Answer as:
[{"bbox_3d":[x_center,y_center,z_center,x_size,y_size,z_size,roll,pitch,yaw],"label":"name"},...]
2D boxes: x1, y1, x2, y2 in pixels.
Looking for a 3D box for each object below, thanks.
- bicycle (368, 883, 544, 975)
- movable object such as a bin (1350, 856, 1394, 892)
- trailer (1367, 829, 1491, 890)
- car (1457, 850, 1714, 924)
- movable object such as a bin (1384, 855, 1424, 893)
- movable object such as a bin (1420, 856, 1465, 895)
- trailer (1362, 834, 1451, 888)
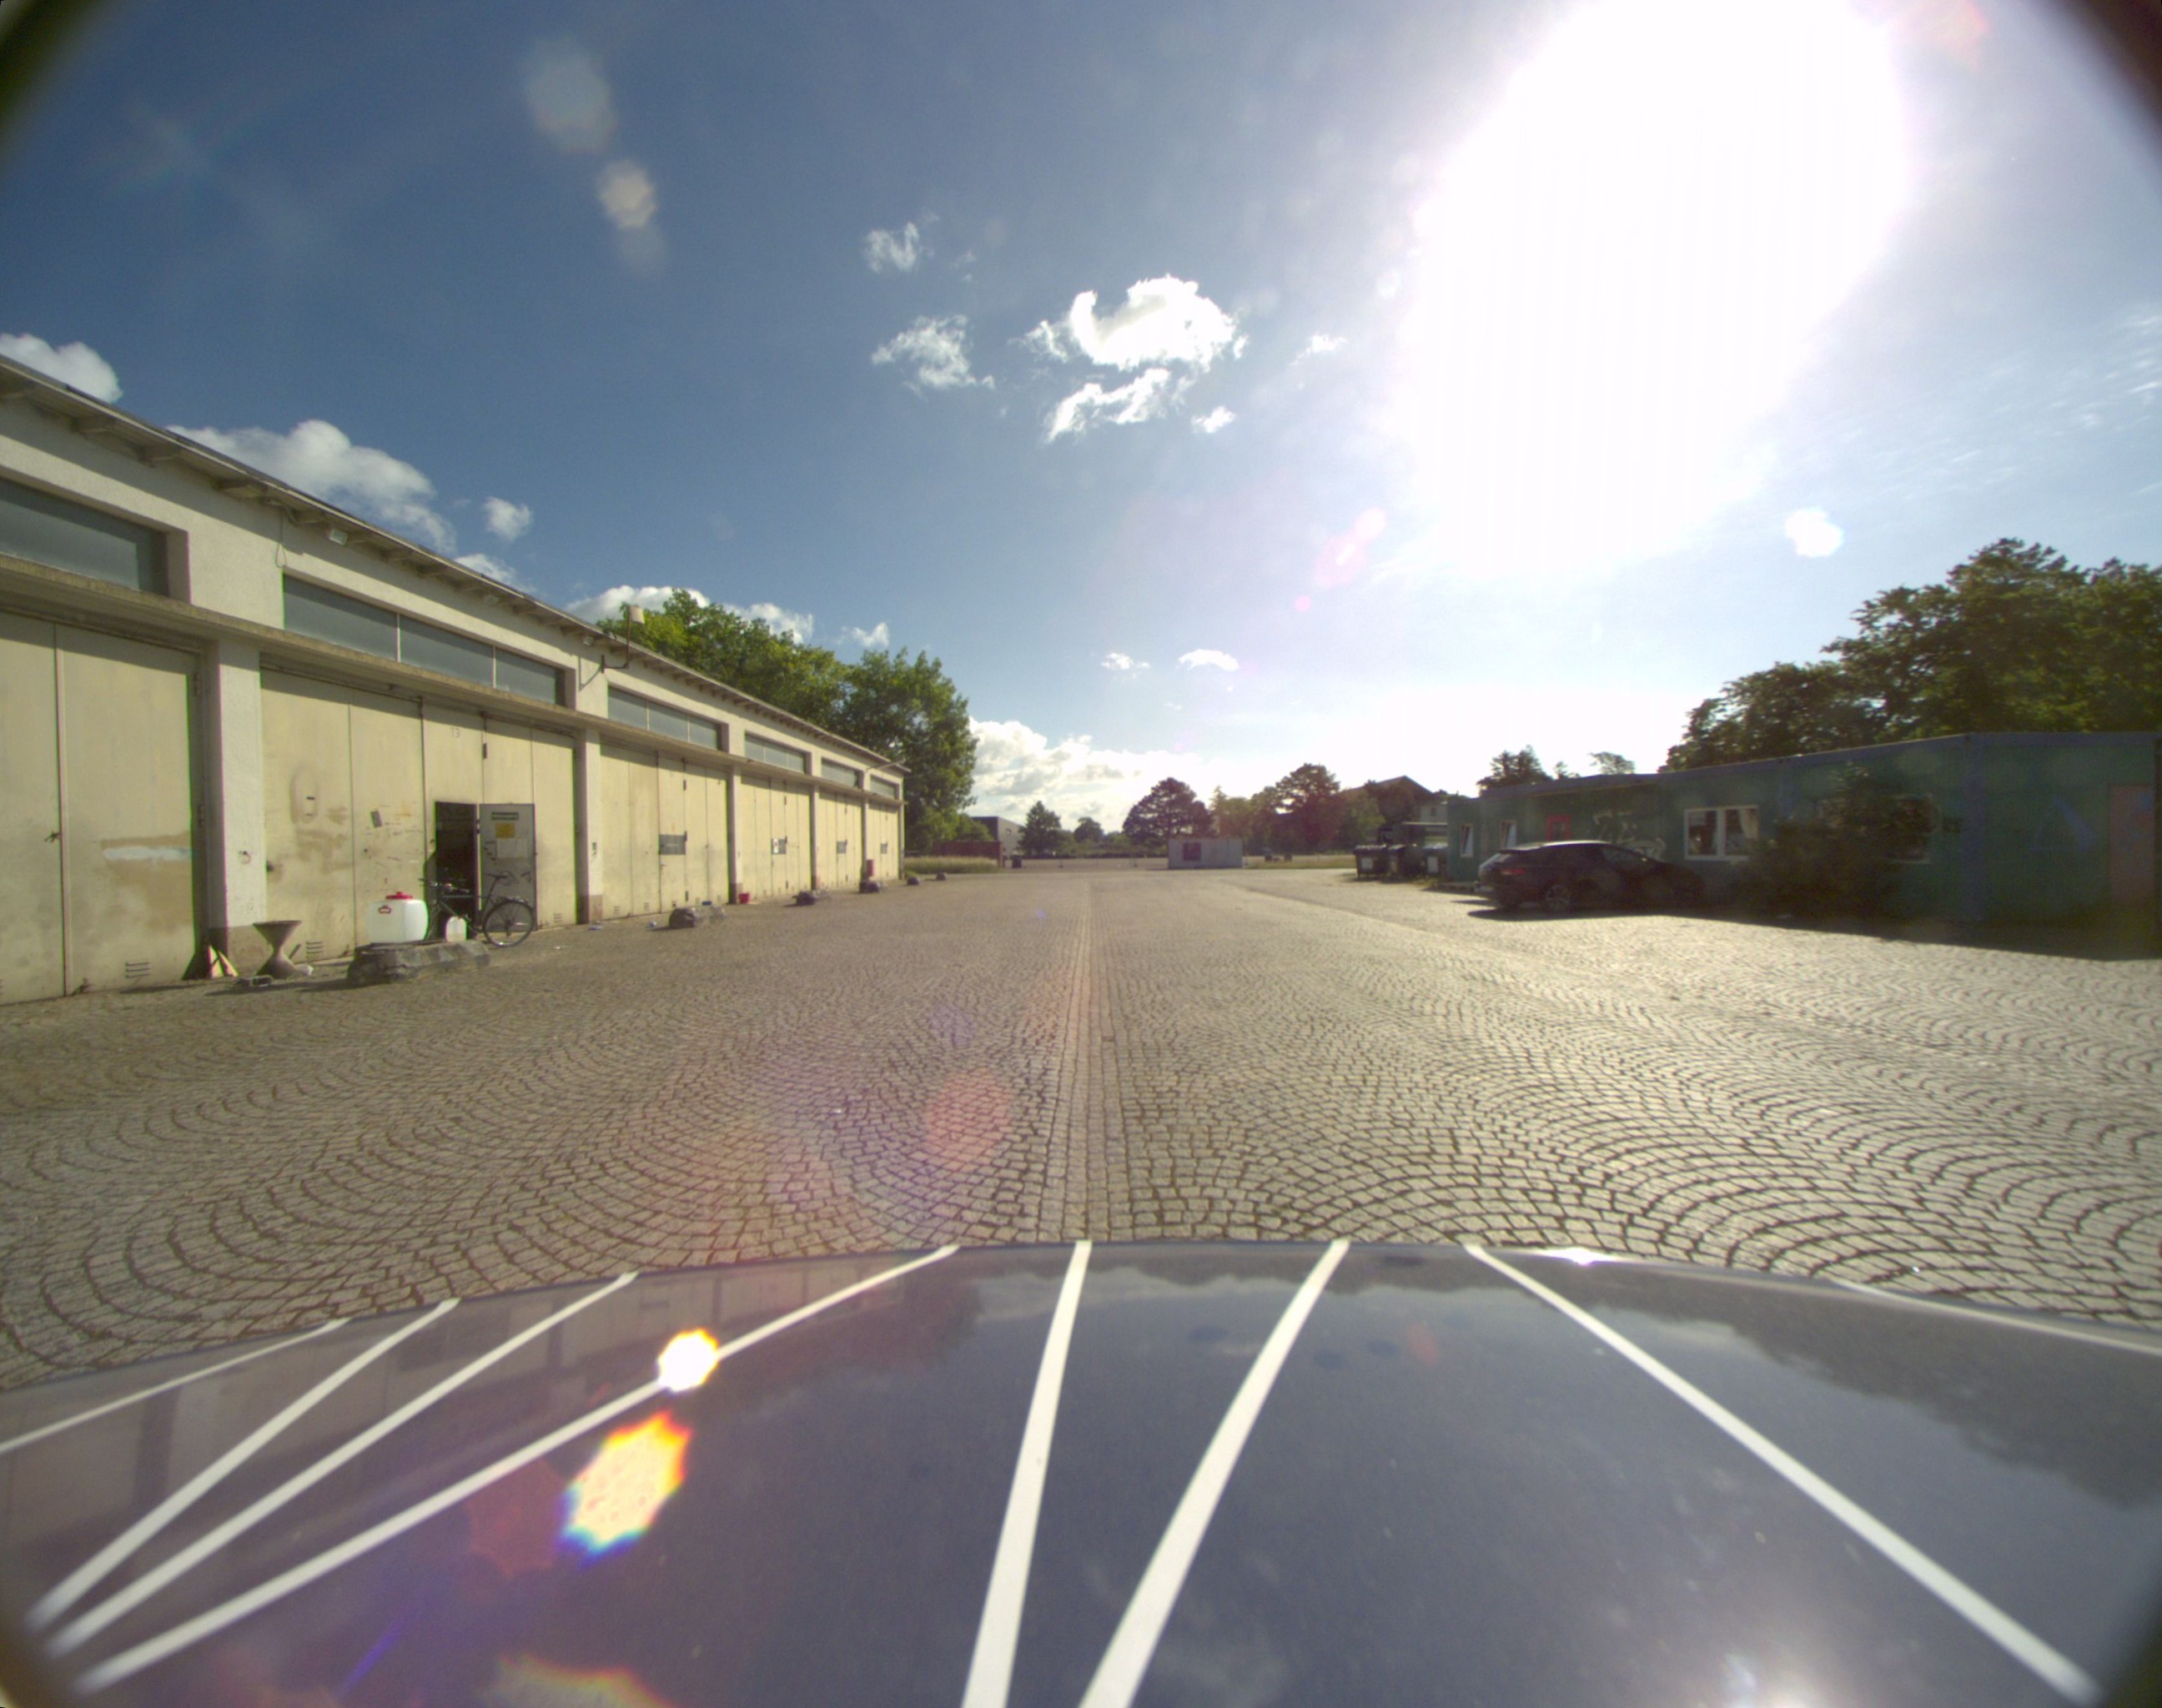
[{"bbox_3d":[-8.566,0.985,10.531,0.665,1.062,1.826,-1,1,13],"label":"bicycle"},{"bbox_3d":[12.522,0.840,32.725,1.434,1.449,1.158,0,1,43],"label":"movable object such as a bin"},{"bbox_3d":[15.444,0.216,33.843,4.649,2.553,1.951,-1,1,-3],"label":"trailer"},{"bbox_3d":[10.703,0.659,16.350,4.263,1.441,1.931,-1,1,-1],"label":"car"},{"bbox_3d":[12.996,0.788,30.609,1.020,1.449,1.440,-1,1,0],"label":"movable object such as a bin"},{"bbox_3d":[13.732,0.800,28.924,0.885,1.449,1.439,-1,1,-10],"label":"movable object such as a bin"},{"bbox_3d":[15.496,0.306,36.295,3.393,2.455,2.044,-1,1,1],"label":"trailer"}]
